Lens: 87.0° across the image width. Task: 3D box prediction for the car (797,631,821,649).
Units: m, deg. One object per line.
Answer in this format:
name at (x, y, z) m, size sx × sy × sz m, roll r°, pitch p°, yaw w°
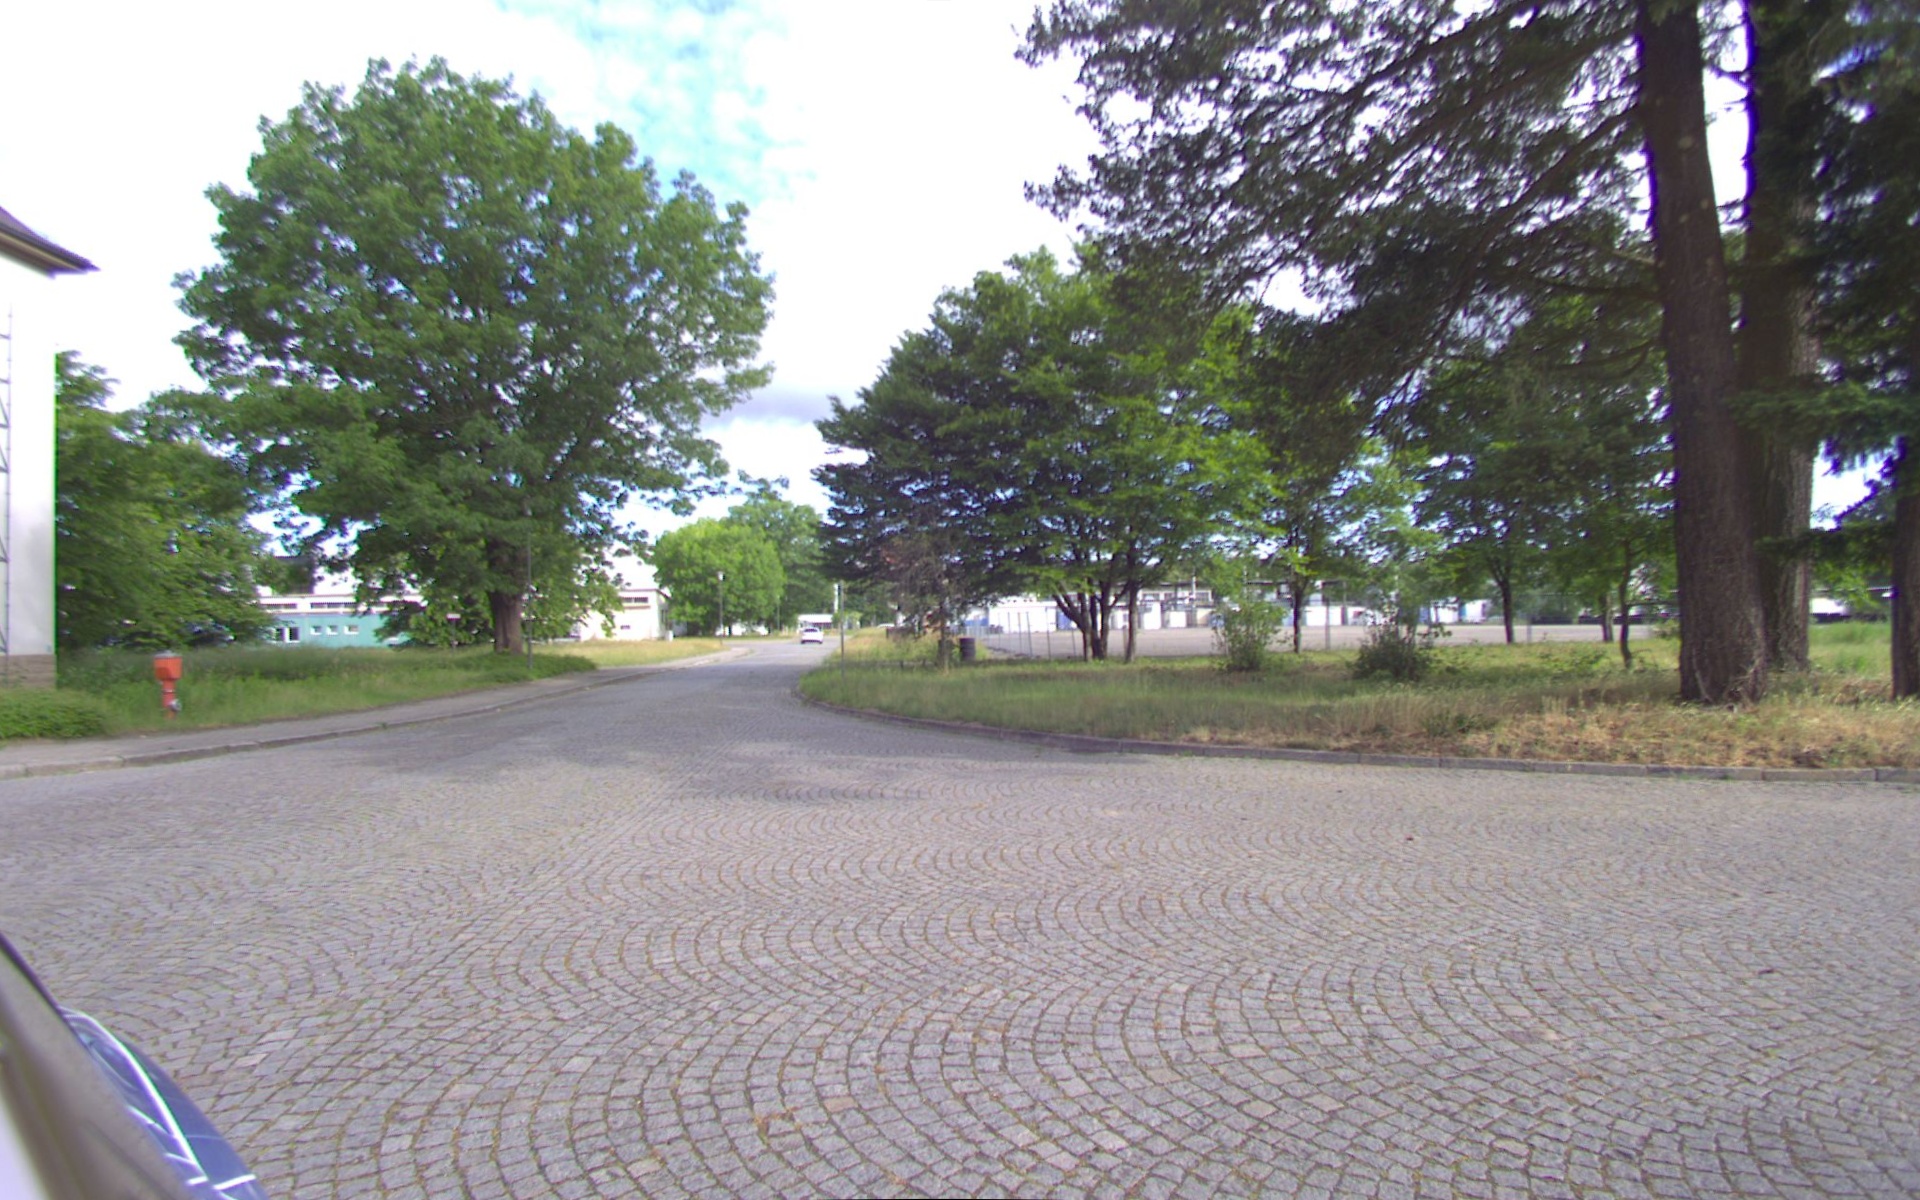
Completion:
car at (-13.202, 3.505, 88.502) m, size 1.826 × 1.448 × 4.712 m, roll -2°, pitch -1°, yaw -6°
